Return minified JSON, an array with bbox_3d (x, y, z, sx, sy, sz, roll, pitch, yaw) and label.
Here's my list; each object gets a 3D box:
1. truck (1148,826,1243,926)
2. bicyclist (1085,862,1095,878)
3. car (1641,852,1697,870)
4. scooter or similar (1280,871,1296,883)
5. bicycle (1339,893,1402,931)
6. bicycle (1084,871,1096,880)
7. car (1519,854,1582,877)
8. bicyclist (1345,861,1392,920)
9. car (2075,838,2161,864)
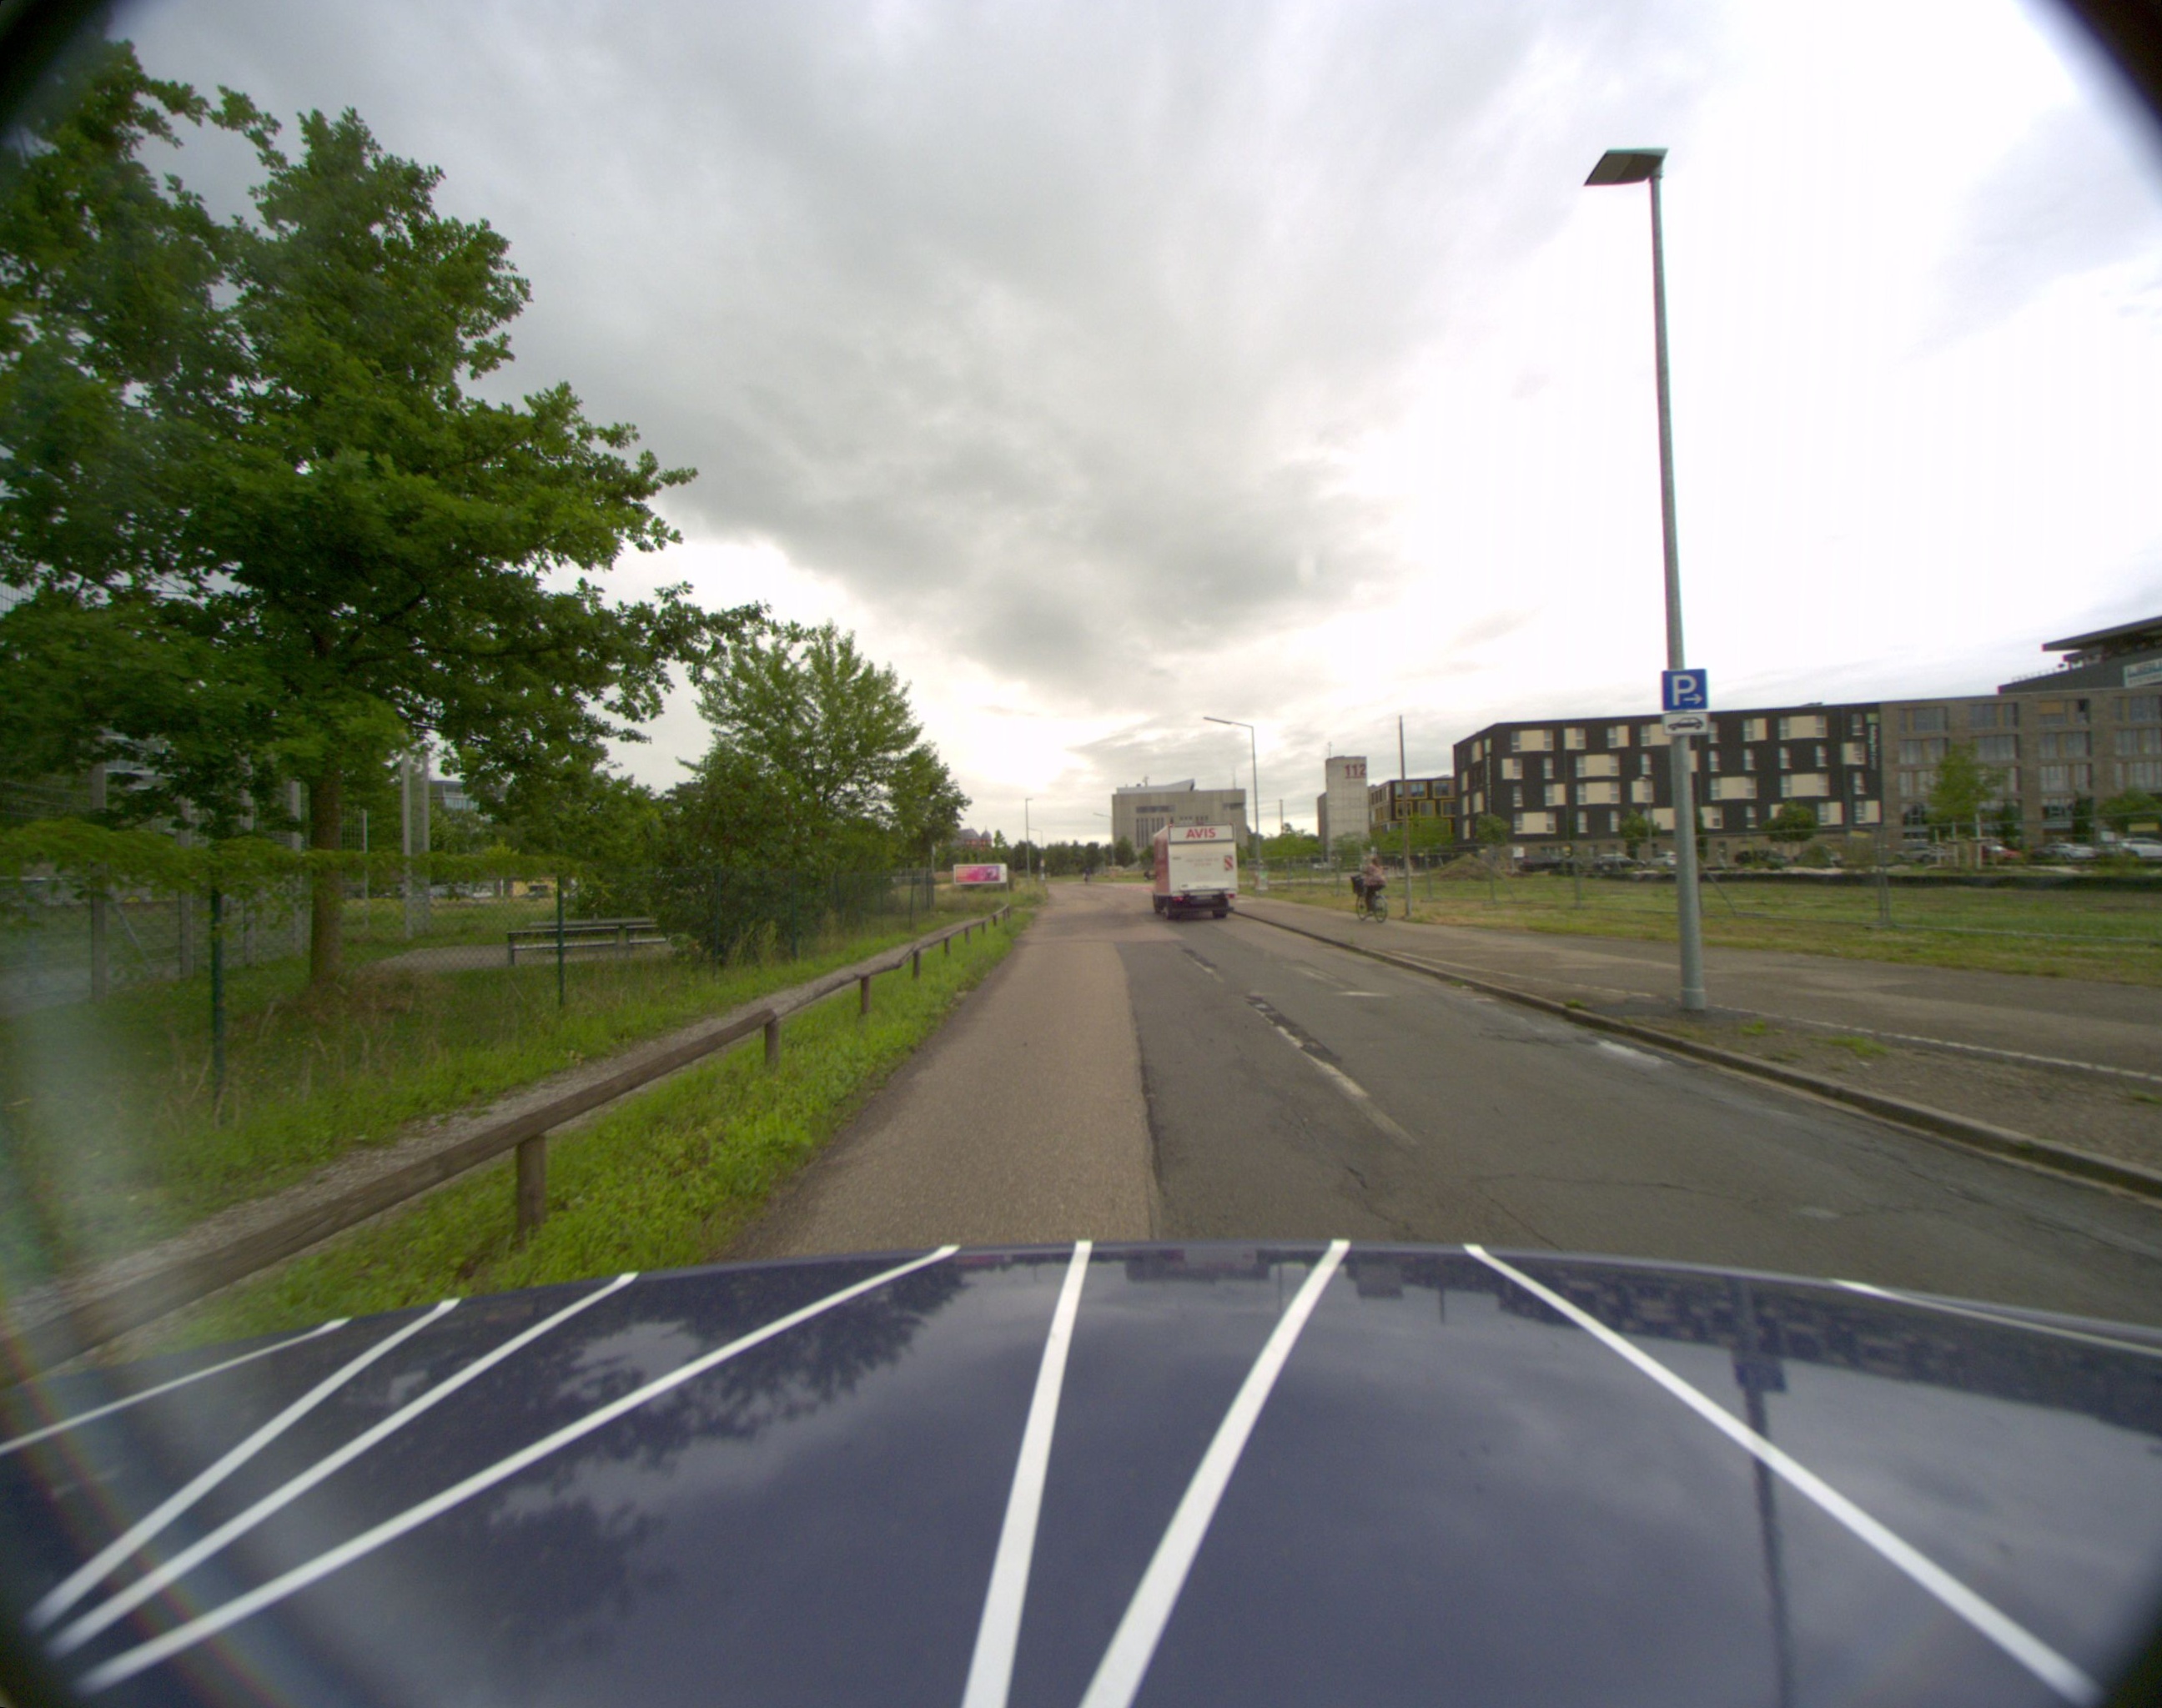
[{"bbox_3d":[3.838,0.756,27.095,2.346,3.043,7.498,1,-1,1],"label":"truck"},{"bbox_3d":[1.098,2.023,94.547,0.865,2.001,1.176,-2,-1,-14],"label":"bicyclist"},{"bbox_3d":[55.149,0.660,71.362,1.998,1.508,4.155,-2,-2,2],"label":"car"},{"bbox_3d":[20.649,2.285,75.867,1.468,1.161,0.571,-3,0,-16],"label":"scooter or similar"},{"bbox_3d":[7.722,1.523,20.403,0.805,0.902,2.233,-2,-2,0],"label":"bicycle"},{"bbox_3d":[1.130,2.662,94.500,0.887,1.046,2.467,-2,-2,-14],"label":"bicycle"},{"bbox_3d":[39.095,0.972,63.379,3.994,1.811,2.002,-2,-2,10],"label":"car"},{"bbox_3d":[7.711,0.983,20.405,0.784,1.517,1.094,-2,-1,0],"label":"bicyclist"},{"bbox_3d":[78.048,-0.201,56.919,3.994,1.736,2.002,-2,-2,10],"label":"car"}]
